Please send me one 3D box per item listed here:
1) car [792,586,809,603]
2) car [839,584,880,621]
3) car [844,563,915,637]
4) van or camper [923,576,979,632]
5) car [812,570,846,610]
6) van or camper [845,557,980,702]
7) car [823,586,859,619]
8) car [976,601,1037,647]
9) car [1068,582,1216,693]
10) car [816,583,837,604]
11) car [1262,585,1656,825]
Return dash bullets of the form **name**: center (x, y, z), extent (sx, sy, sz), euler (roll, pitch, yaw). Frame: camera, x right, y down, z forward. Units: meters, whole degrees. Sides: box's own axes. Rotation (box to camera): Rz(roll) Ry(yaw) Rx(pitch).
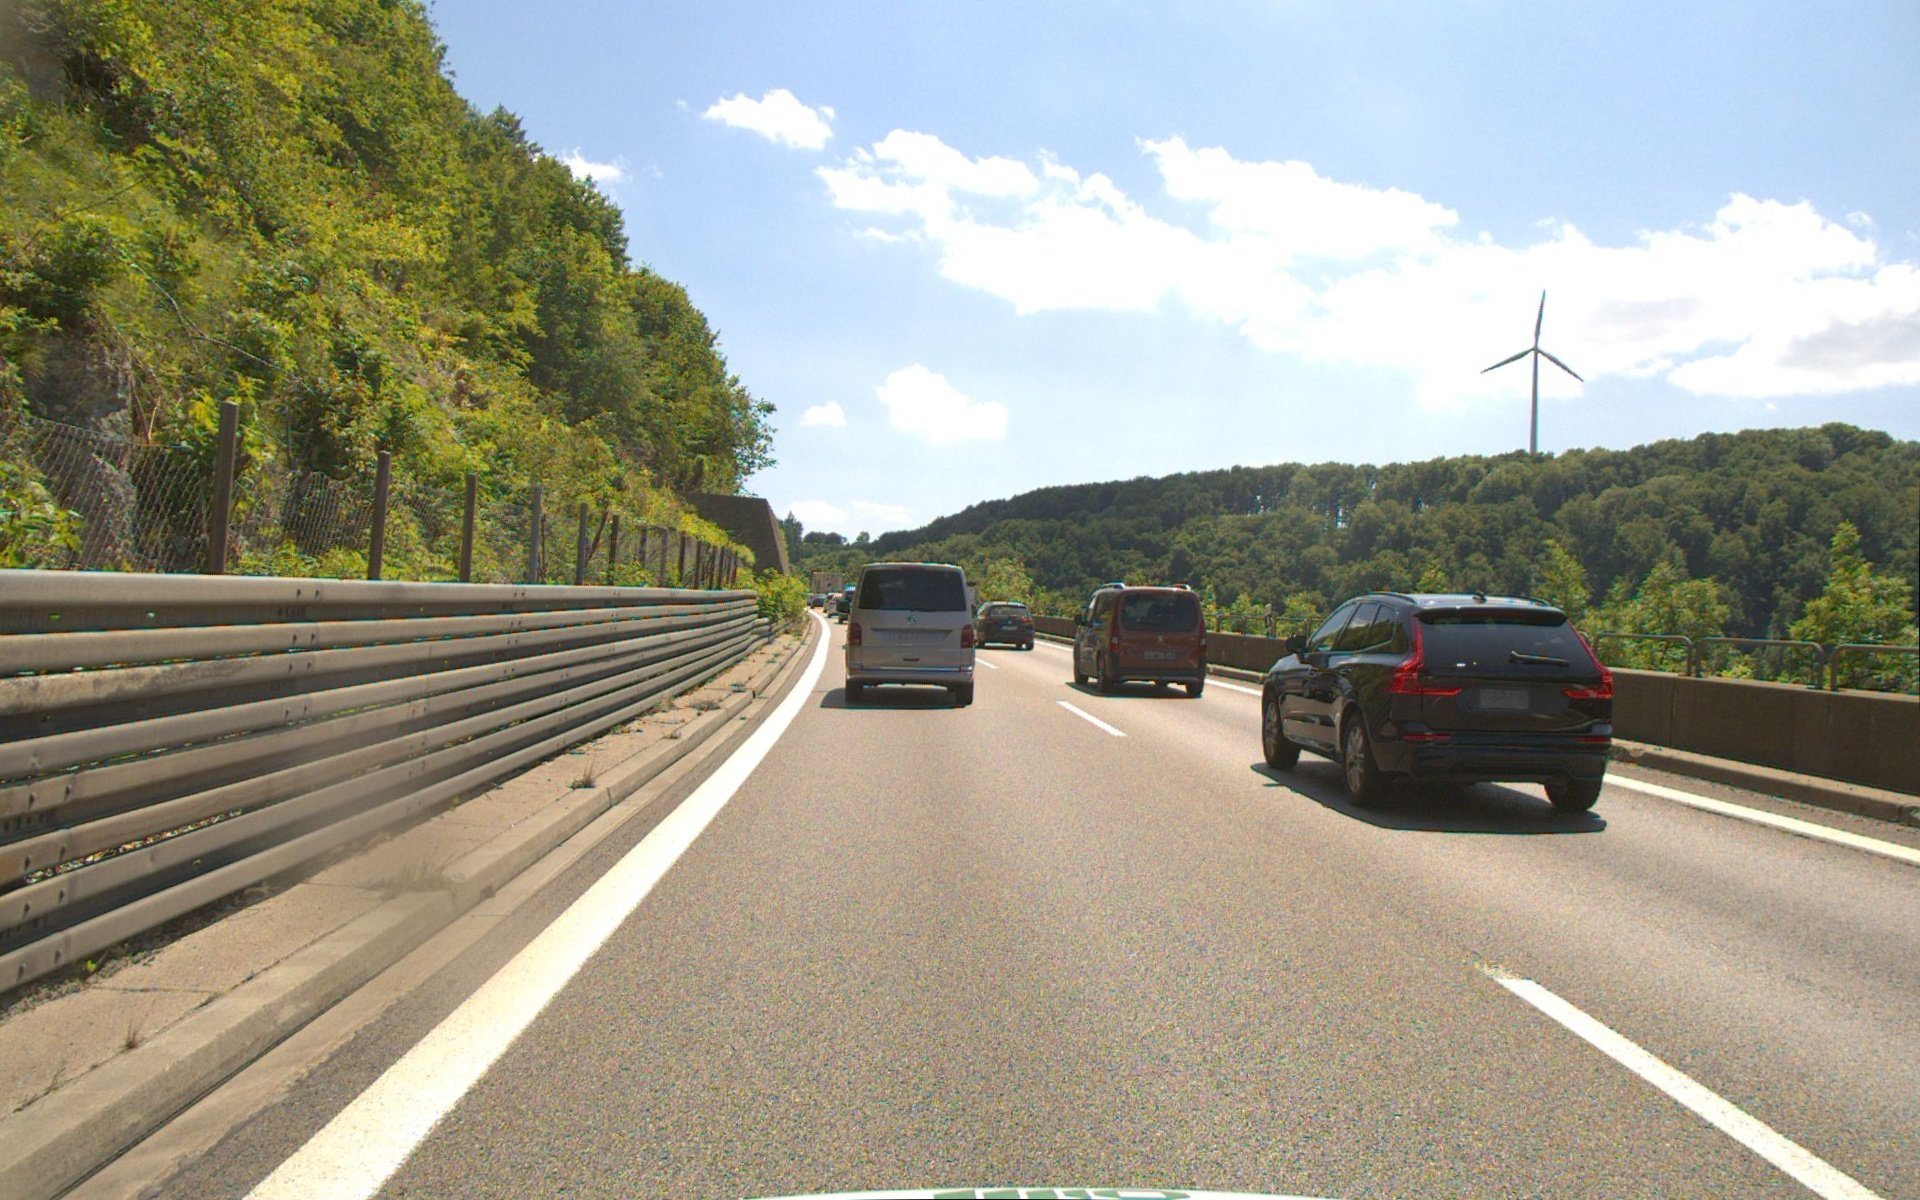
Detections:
- **car**: center (-17.317, -0.586, 179.441), extent (1.810, 1.780, 3.996), euler (1, 0, -5)
- **car**: center (-5.285, 0.116, 86.442), extent (1.955, 1.849, 3.996), euler (1, 0, -5)
- **car**: center (-2.275, -0.001, 47.700), extent (1.953, 2.049, 3.999), euler (0, 0, -1)
- **van or camper**: center (-0.478, 0.198, 79.465), extent (2.220, 2.596, 4.730), euler (0, 0, -6)
- **car**: center (-16.744, -1.220, 211.899), extent (3.963, 4.957, 10.103), euler (0, 0, -3)
- **van or camper**: center (-0.797, 0.416, 24.820), extent (1.839, 1.984, 4.290), euler (0, 0, -4)
- **car**: center (-7.384, 0.133, 102.494), extent (1.956, 1.948, 3.993), euler (1, 0, -8)
- **car**: center (1.448, 0.741, 52.507), extent (1.733, 1.400, 3.591), euler (0, 0, -2)
- **car**: center (3.141, 0.628, 29.399), extent (1.797, 1.815, 4.671), euler (0, 0, -4)
- **car**: center (-13.016, -0.650, 161.579), extent (1.954, 2.049, 3.997), euler (0, 0, -4)
- **car**: center (3.902, 0.730, 13.842), extent (1.797, 1.662, 4.661), euler (0, 0, -1)
